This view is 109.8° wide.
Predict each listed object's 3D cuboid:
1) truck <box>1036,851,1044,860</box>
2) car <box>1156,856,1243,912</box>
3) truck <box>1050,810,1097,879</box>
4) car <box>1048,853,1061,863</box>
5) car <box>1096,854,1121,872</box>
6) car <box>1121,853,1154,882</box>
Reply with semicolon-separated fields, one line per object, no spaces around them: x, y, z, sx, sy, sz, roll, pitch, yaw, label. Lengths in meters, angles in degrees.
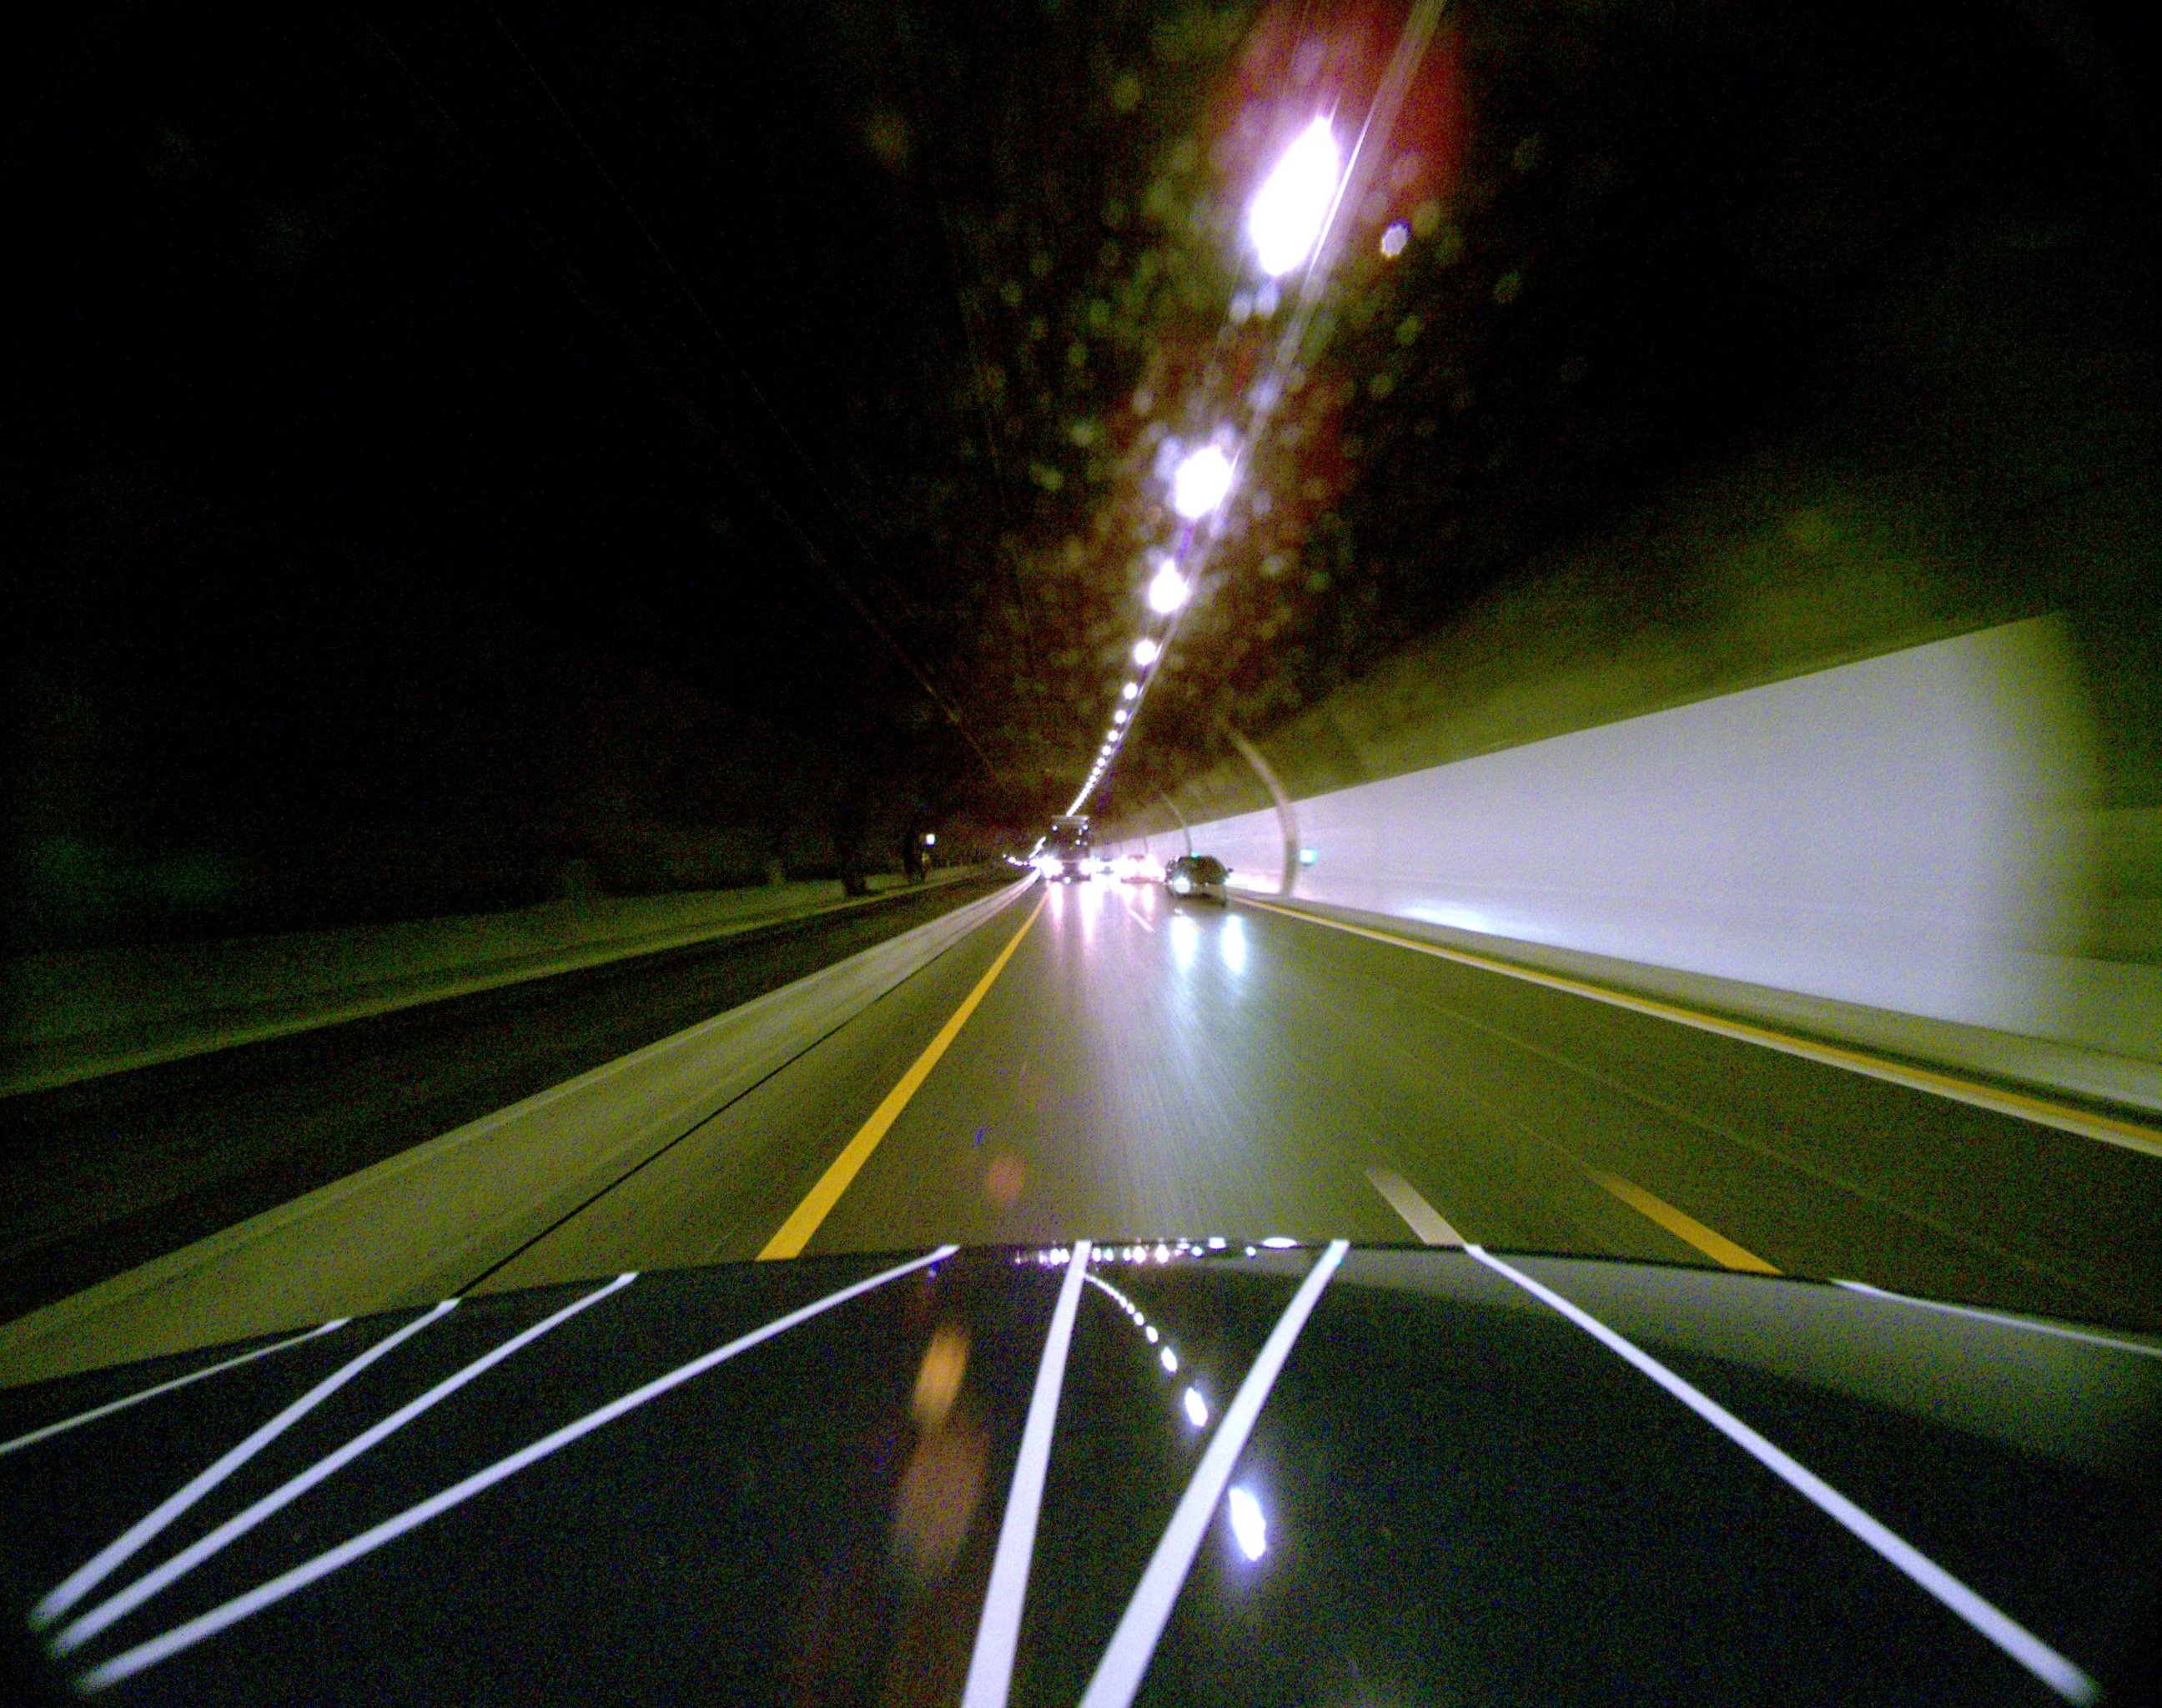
-13.586;0.448;250.934;2.610;2.723;6.395;-2;0;-4;truck
3.432;0.808;22.923;1.782;1.430;4.882;-2;0;0;car
-0.616;-0.555;50.511;2.742;4.127;8.098;-2;0;-3;truck
-4.135;0.578;117.970;1.999;1.524;3.999;-2;0;-2;car
2.384;0.764;66.672;1.909;1.412;4.060;-2;0;-2;car
3.087;0.737;42.137;1.531;1.508;2.651;-2;0;-1;car
